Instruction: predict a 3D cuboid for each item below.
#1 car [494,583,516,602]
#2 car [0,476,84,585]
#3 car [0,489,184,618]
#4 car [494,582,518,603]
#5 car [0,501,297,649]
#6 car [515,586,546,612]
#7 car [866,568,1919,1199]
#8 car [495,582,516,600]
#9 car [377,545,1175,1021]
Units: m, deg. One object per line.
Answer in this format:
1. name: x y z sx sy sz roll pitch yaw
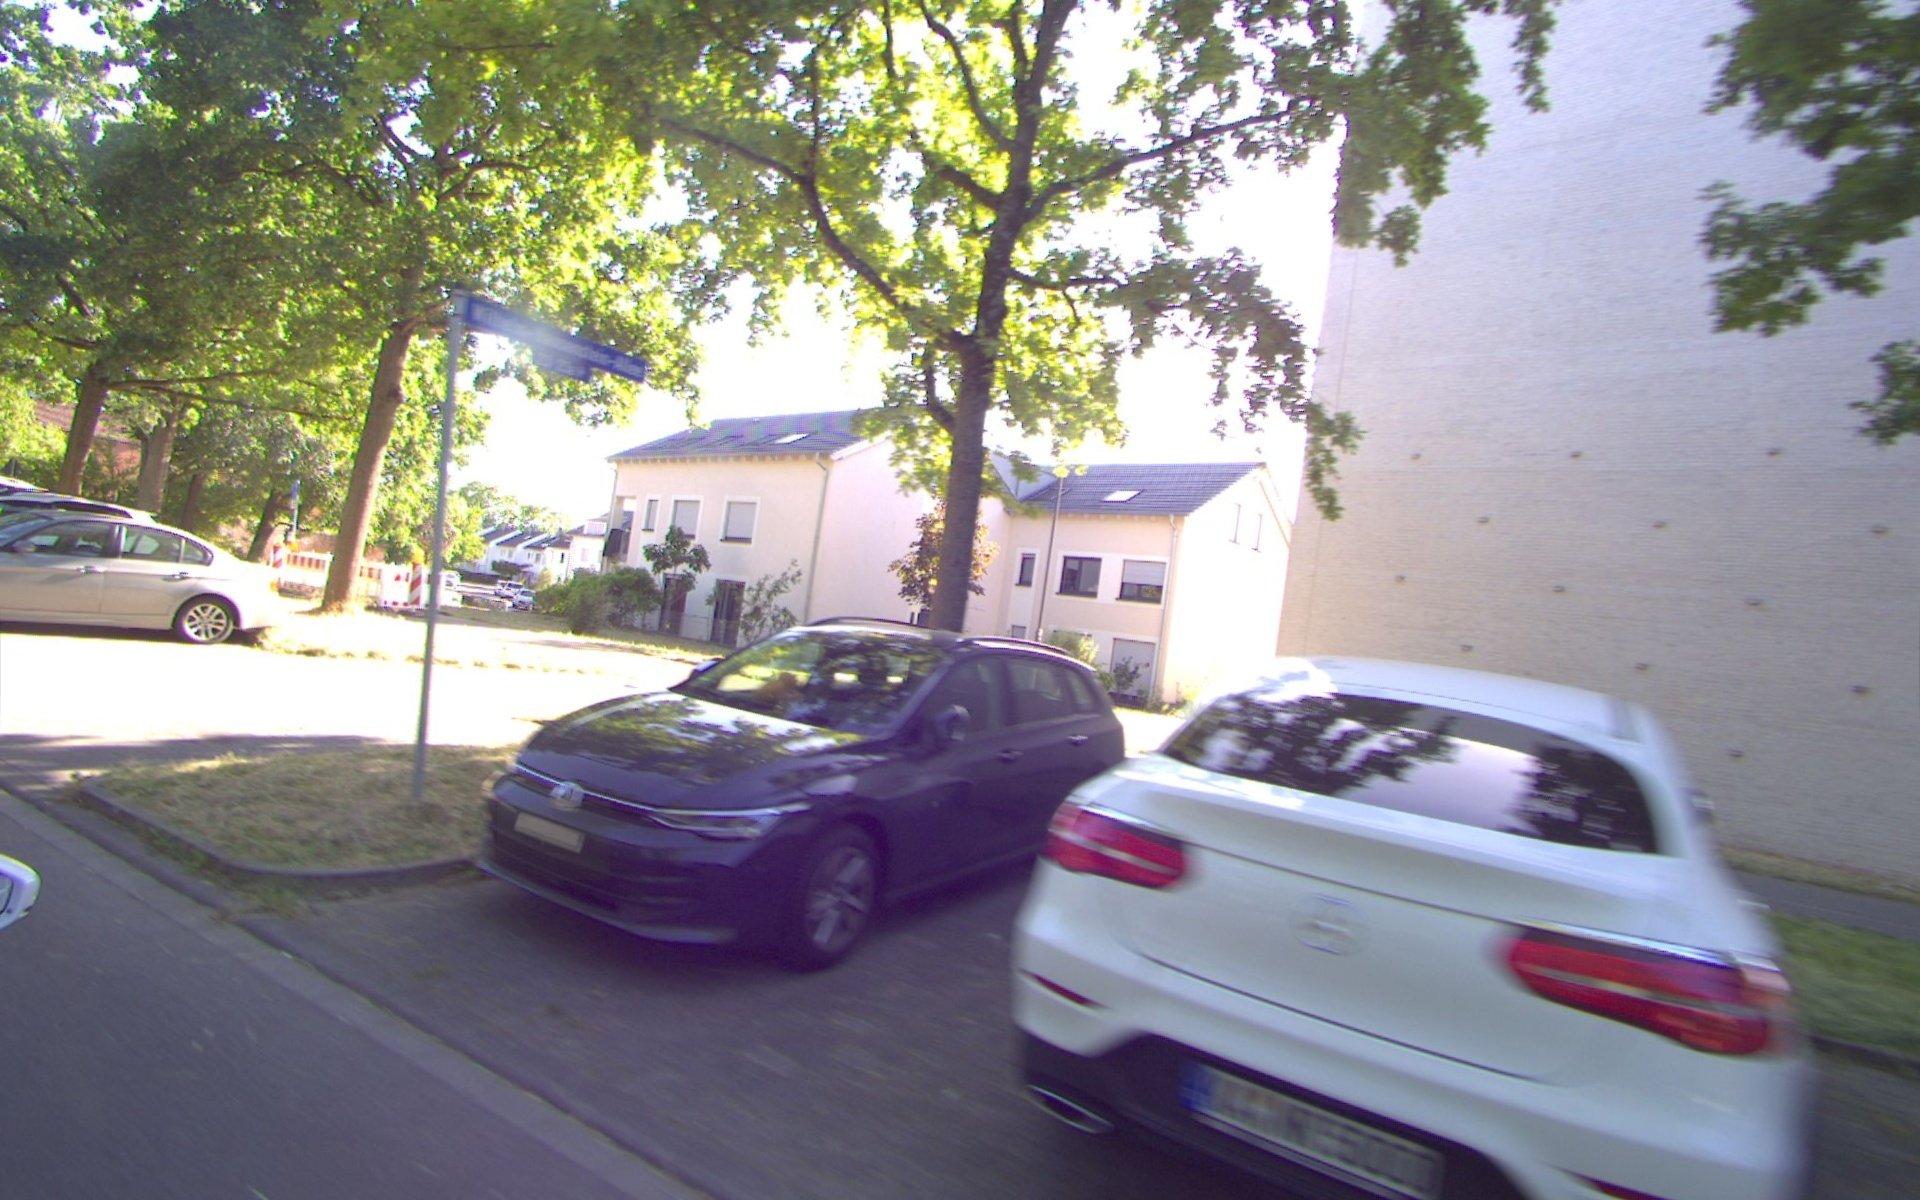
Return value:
1. car: -44.695 -0.759 98.750 1.717 1.572 3.447 10 -3 -25
2. car: -16.942 -1.362 15.767 1.819 1.671 4.393 7 -1 29
3. car: -13.090 -0.747 13.407 1.747 1.515 3.892 7 -1 31
4. car: -39.857 -0.690 88.271 1.717 1.572 3.447 10 -3 -25
5. car: -10.727 -0.376 11.810 1.879 1.406 4.454 7 -2 31
6. car: -30.640 -0.071 71.741 1.717 1.572 3.447 10 -3 -25
7. car: 1.862 1.014 4.012 1.885 1.599 4.678 7 -1 32
8. car: -47.330 -0.960 104.652 1.717 1.572 3.447 10 -3 -25
9. car: -0.475 0.793 5.899 1.884 1.473 4.679 7 -1 30
